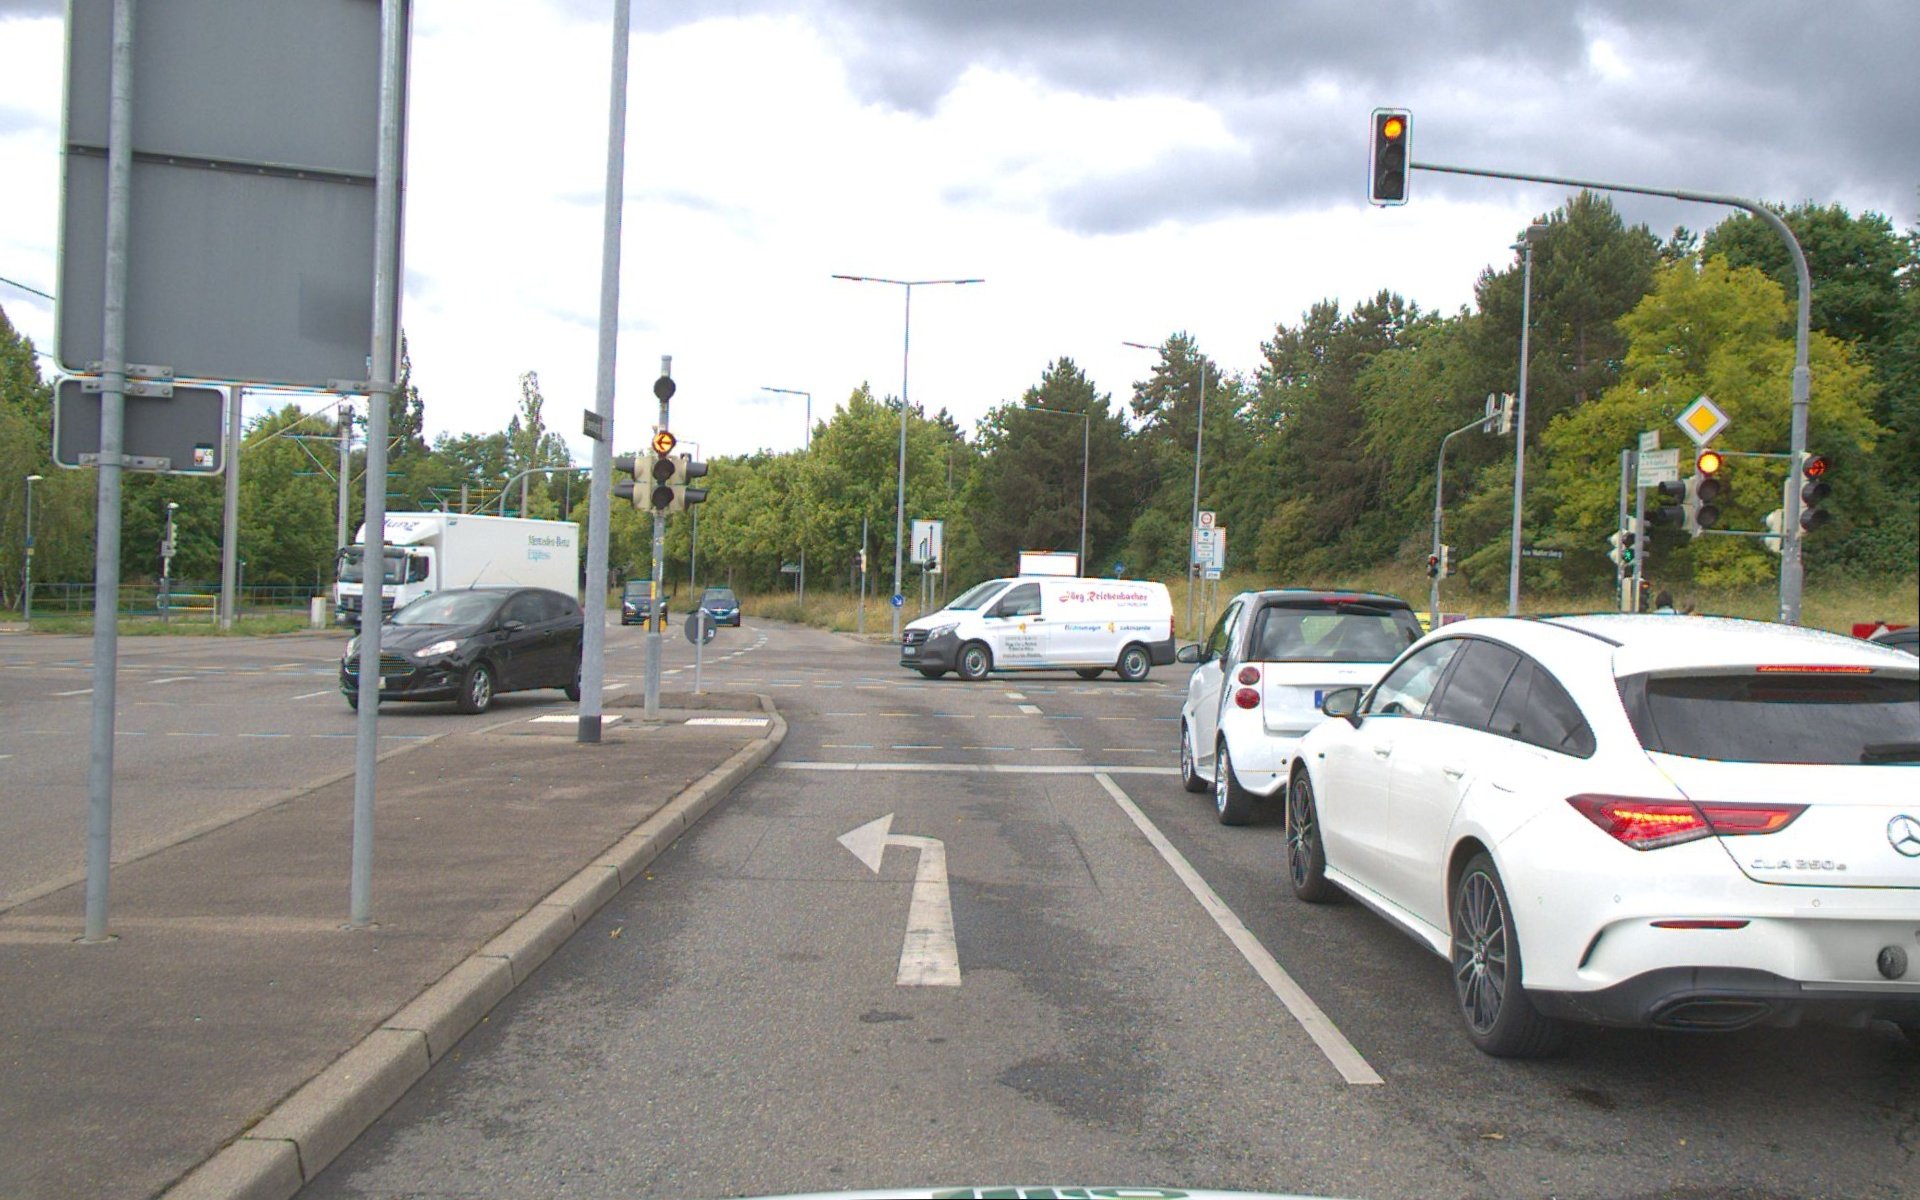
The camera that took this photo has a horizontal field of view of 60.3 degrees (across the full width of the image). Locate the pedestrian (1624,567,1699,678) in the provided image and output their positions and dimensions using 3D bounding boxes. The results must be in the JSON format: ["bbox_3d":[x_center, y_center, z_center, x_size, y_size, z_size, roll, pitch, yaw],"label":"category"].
[{"bbox_3d":[10.218,0.326,24.100,0.846,1.588,0.518,1,1,-3],"label":"pedestrian"}]

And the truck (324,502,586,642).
[{"bbox_3d":[-14.663,-0.750,49.121,2.604,3.713,9.508,2,0,16],"label":"truck"}]

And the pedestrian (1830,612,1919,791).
[{"bbox_3d":[7.791,0.854,14.051,0.598,1.479,0.354,1,0,8],"label":"pedestrian"}]

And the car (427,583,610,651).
[{"bbox_3d":[-10.455,0.421,39.225,3.940,1.543,1.717,1,-2,-27],"label":"car"}]

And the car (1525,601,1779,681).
[{"bbox_3d":[14.200,0.822,34.121,4.398,1.487,2.000,1,1,1],"label":"car"}]

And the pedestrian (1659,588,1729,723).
[{"bbox_3d":[9.320,0.693,21.013,0.598,1.662,0.614,3,0,8],"label":"pedestrian"}]

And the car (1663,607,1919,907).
[{"bbox_3d":[5.387,0.778,8.783,1.514,1.428,3.999,1,0,-2],"label":"car"}]

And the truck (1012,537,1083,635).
[{"bbox_3d":[3.506,-0.601,66.716,2.627,3.661,7.267,1,1,3],"label":"truck"}]

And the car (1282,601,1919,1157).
[{"bbox_3d":[2.584,0.757,6.617,1.686,1.446,4.356,1,0,-1],"label":"car"}]

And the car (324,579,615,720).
[{"bbox_3d":[-5.842,0.533,20.171,1.599,1.505,3.780,1,1,16],"label":"car"}]

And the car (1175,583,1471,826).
[{"bbox_3d":[2.493,0.665,11.895,1.504,1.530,2.670,1,0,-1],"label":"car"}]

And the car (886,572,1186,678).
[{"bbox_3d":[1.451,0.507,31.002,5.351,1.847,1.983,1,-2,-26],"label":"car"}]

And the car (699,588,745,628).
[{"bbox_3d":[-10.182,0.336,70.669,1.880,1.603,3.993,0,1,-8],"label":"car"}]

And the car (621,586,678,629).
[{"bbox_3d":[-13.423,0.303,71.677,1.877,1.758,3.998,1,1,-3],"label":"car"}]
